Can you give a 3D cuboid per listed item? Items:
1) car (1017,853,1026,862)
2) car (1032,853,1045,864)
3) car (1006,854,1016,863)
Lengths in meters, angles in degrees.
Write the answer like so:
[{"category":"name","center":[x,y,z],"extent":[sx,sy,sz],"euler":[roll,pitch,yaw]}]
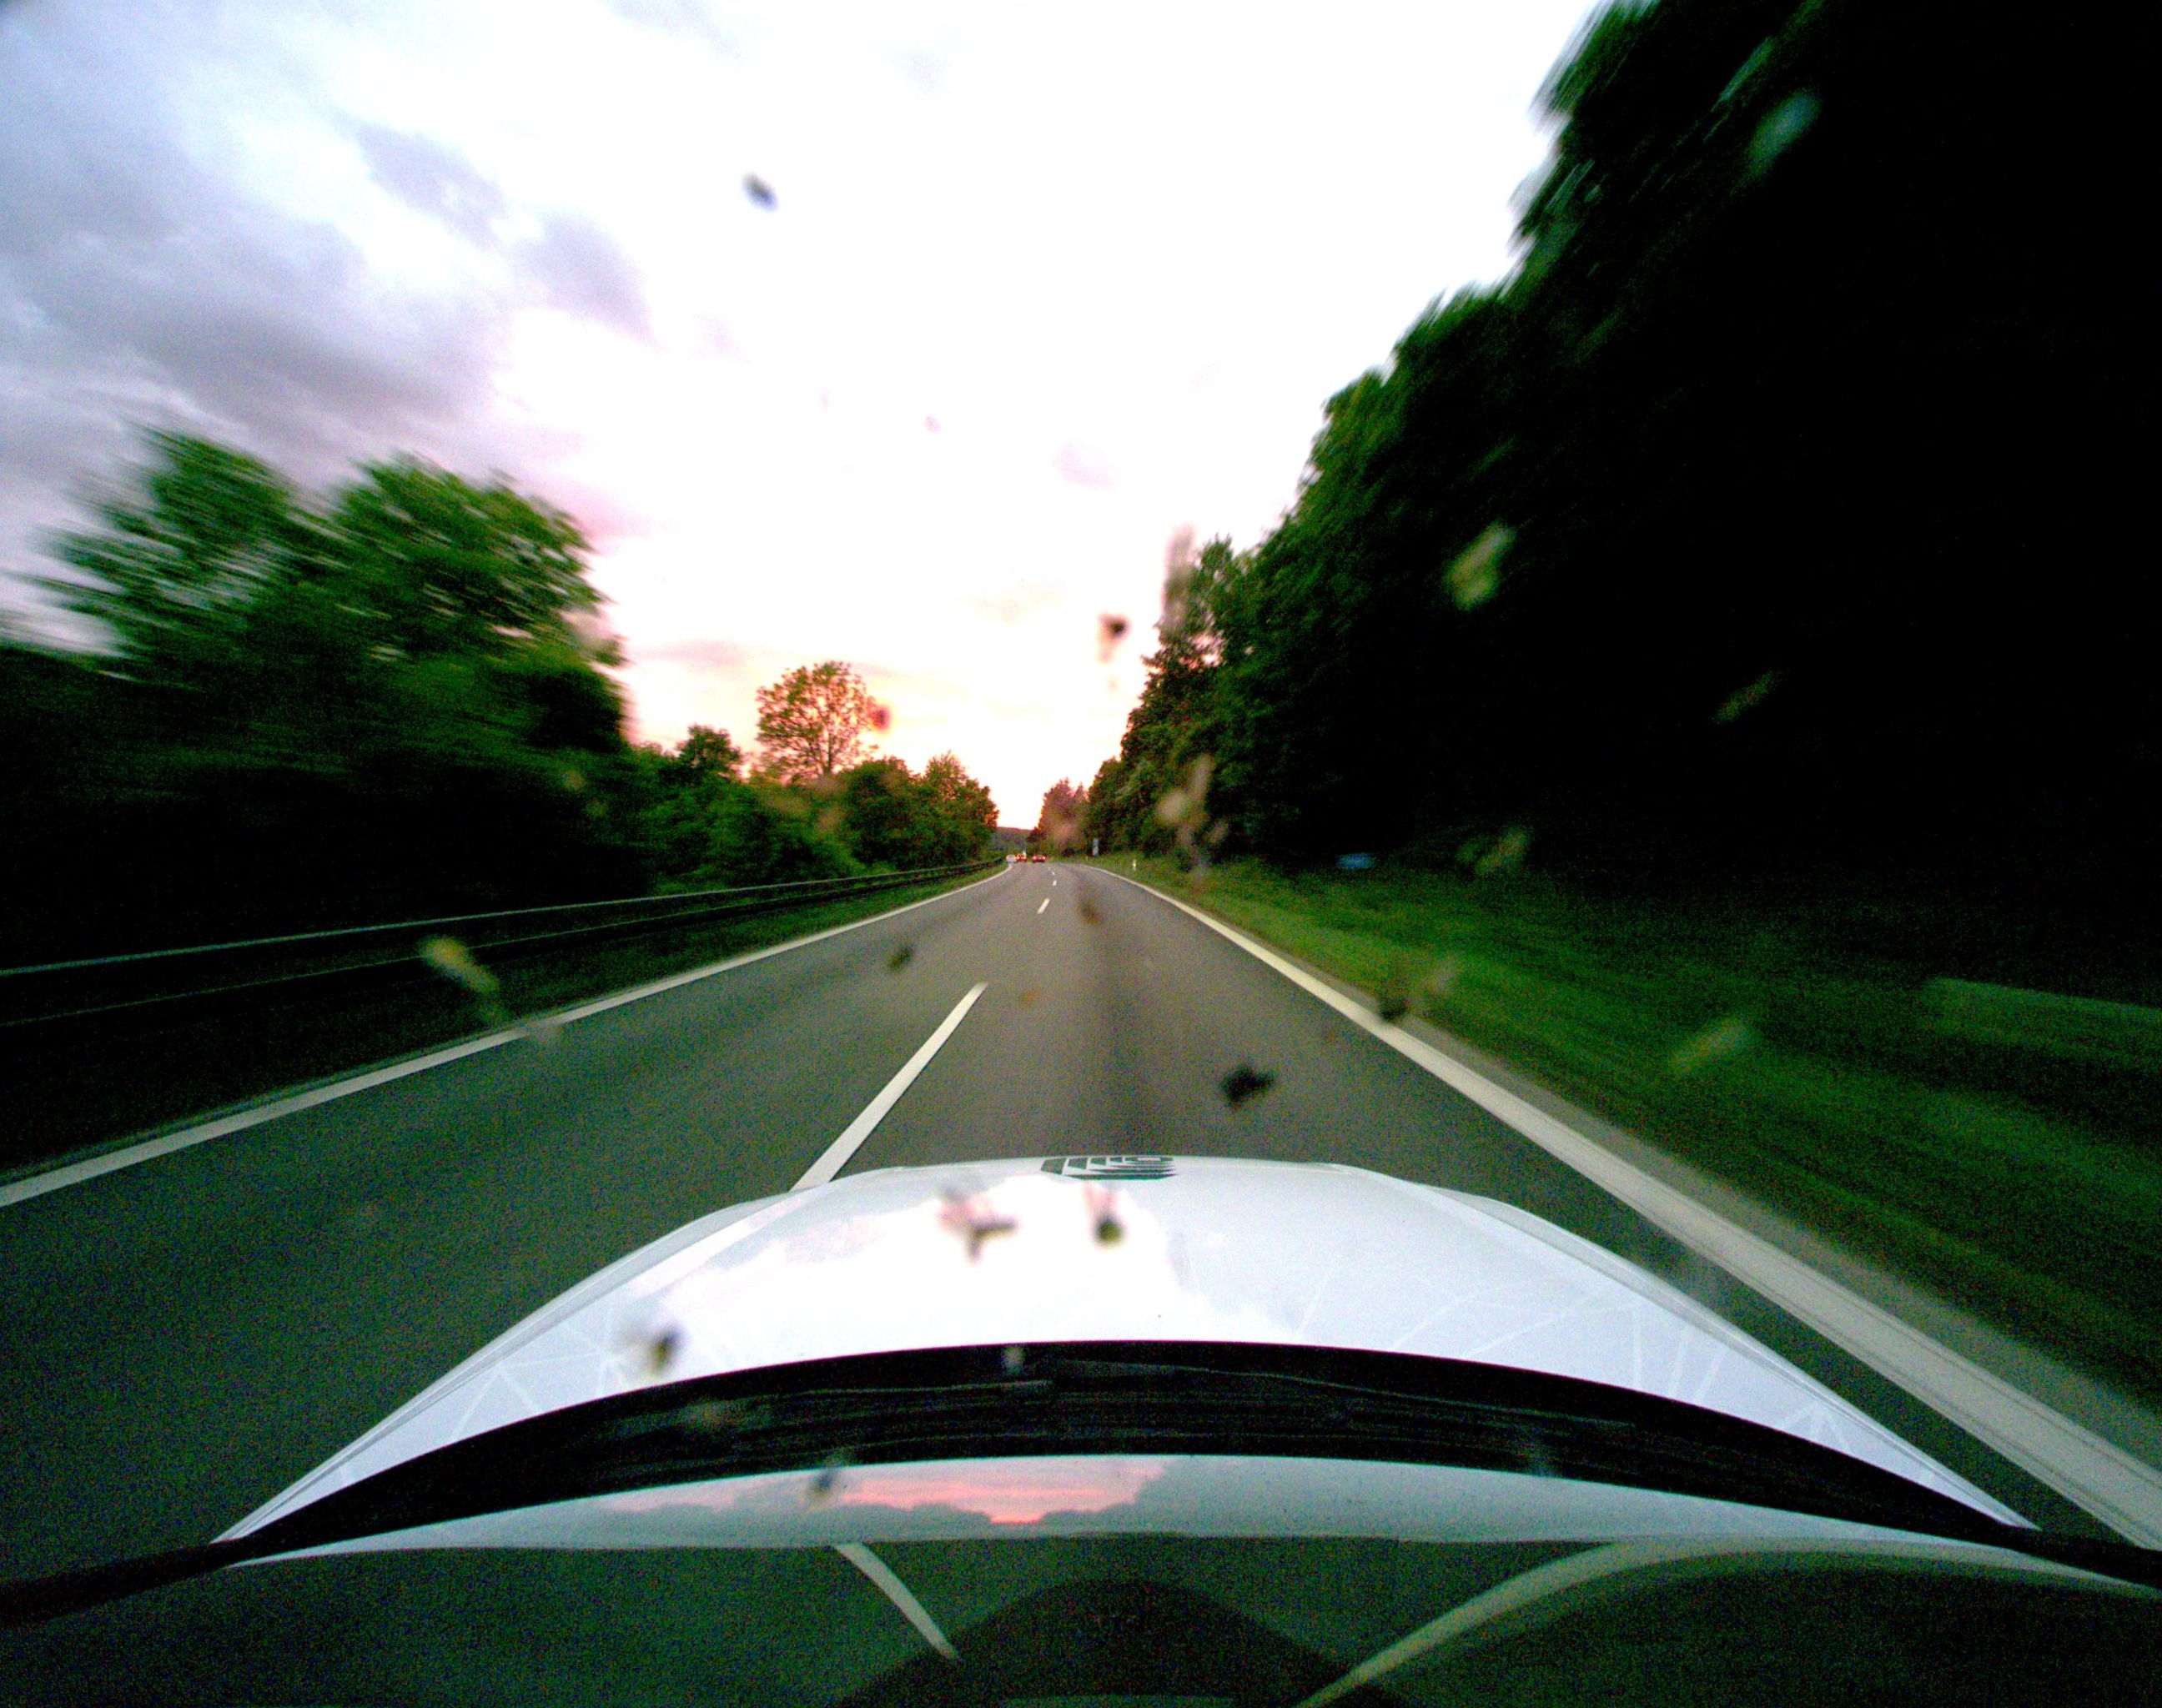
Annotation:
[{"category":"car","center":[-11.403,0.637,155.862],"extent":[1.715,1.635,3.993],"euler":[-2,-1,-5]},{"category":"car","center":[-7.259,0.785,137.793],"extent":[1.991,1.646,3.991],"euler":[2,-3,-6]},{"category":"car","center":[-12.515,0.835,145.759],"extent":[1.715,1.501,3.994],"euler":[0,-2,-4]}]
